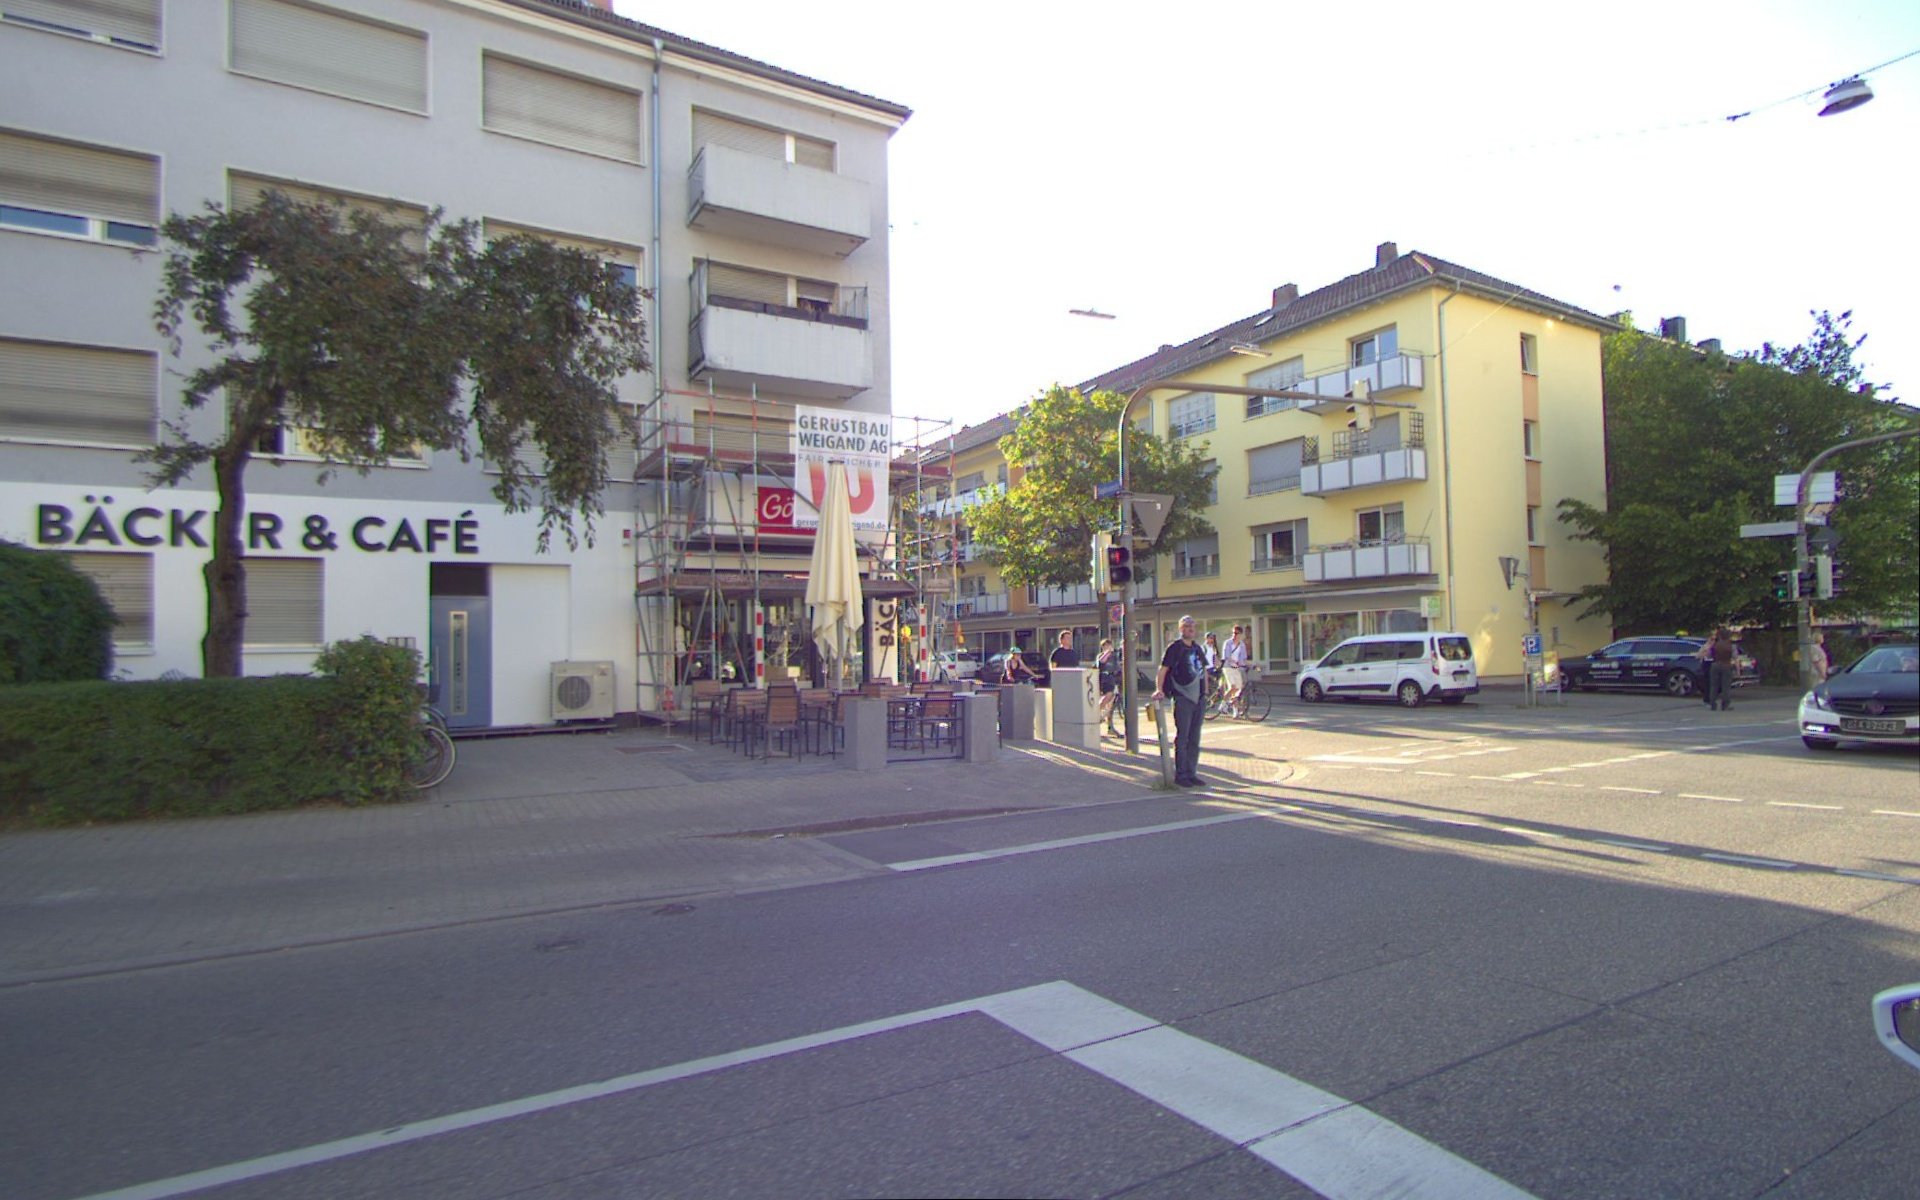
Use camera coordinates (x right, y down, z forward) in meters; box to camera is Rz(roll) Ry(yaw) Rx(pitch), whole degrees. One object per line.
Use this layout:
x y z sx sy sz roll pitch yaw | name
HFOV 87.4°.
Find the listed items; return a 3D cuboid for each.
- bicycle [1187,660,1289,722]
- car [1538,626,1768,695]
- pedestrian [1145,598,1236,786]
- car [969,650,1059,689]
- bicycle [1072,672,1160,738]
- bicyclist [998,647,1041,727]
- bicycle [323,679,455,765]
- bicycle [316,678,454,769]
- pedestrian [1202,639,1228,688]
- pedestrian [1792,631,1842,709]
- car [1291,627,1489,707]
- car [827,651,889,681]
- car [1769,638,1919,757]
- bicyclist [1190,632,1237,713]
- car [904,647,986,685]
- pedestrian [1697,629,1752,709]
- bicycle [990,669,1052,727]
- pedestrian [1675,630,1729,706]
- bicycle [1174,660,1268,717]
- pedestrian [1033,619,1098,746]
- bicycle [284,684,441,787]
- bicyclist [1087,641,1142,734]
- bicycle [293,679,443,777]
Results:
5.688 1.850 20.682 0.721 1.181 1.980 -1 -3 -36 | bicycle
17.806 1.490 26.053 1.823 1.635 4.565 1 -2 -32 | car
2.611 1.020 11.423 0.730 2.040 0.635 1 -3 -29 | pedestrian
2.135 2.795 40.814 1.841 1.483 3.970 1 -3 -29 | car
2.882 1.925 18.805 0.717 1.103 1.991 -1 -3 -20 | bicycle
1.216 1.781 20.586 0.737 1.614 0.688 2 -4 -11 | bicyclist
-7.394 1.564 13.070 1.458 1.028 0.436 1 -3 -28 | bicycle
-7.125 1.514 12.517 1.458 1.028 0.436 1 -3 -28 | bicycle
9.259 2.296 36.459 0.640 1.742 0.573 -1 -2 -32 | pedestrian
18.372 1.488 21.524 0.742 1.615 0.603 2 0 -33 | pedestrian
10.965 1.710 25.975 1.886 1.872 4.452 1 -3 -30 | car
-5.478 3.500 53.520 1.841 1.483 3.970 1 -3 -29 | car
12.438 1.150 12.809 4.389 1.337 1.833 1 -4 -30 | car
5.616 1.598 22.255 0.743 1.744 0.602 0 -2 -36 | bicyclist
-0.716 2.962 45.440 1.821 1.635 4.376 1 -3 -30 | car
16.413 1.477 21.568 0.603 1.679 0.742 1 -3 -37 | pedestrian
1.221 1.987 20.522 0.715 1.103 2.269 2 -5 -11 | bicycle
16.564 1.504 22.428 0.735 1.651 0.609 -1 0 6 | pedestrian
5.722 1.924 22.109 0.721 1.172 1.980 0 -3 -36 | bicycle
1.753 1.343 16.667 0.804 2.040 0.641 2 0 -29 | pedestrian
-6.566 1.465 11.108 1.458 1.028 0.436 1 -3 -28 | bicycle
2.887 1.622 18.787 0.738 1.674 0.670 -1 -2 -21 | bicyclist
-6.827 1.460 11.655 1.458 1.028 0.436 1 -3 -28 | bicycle
